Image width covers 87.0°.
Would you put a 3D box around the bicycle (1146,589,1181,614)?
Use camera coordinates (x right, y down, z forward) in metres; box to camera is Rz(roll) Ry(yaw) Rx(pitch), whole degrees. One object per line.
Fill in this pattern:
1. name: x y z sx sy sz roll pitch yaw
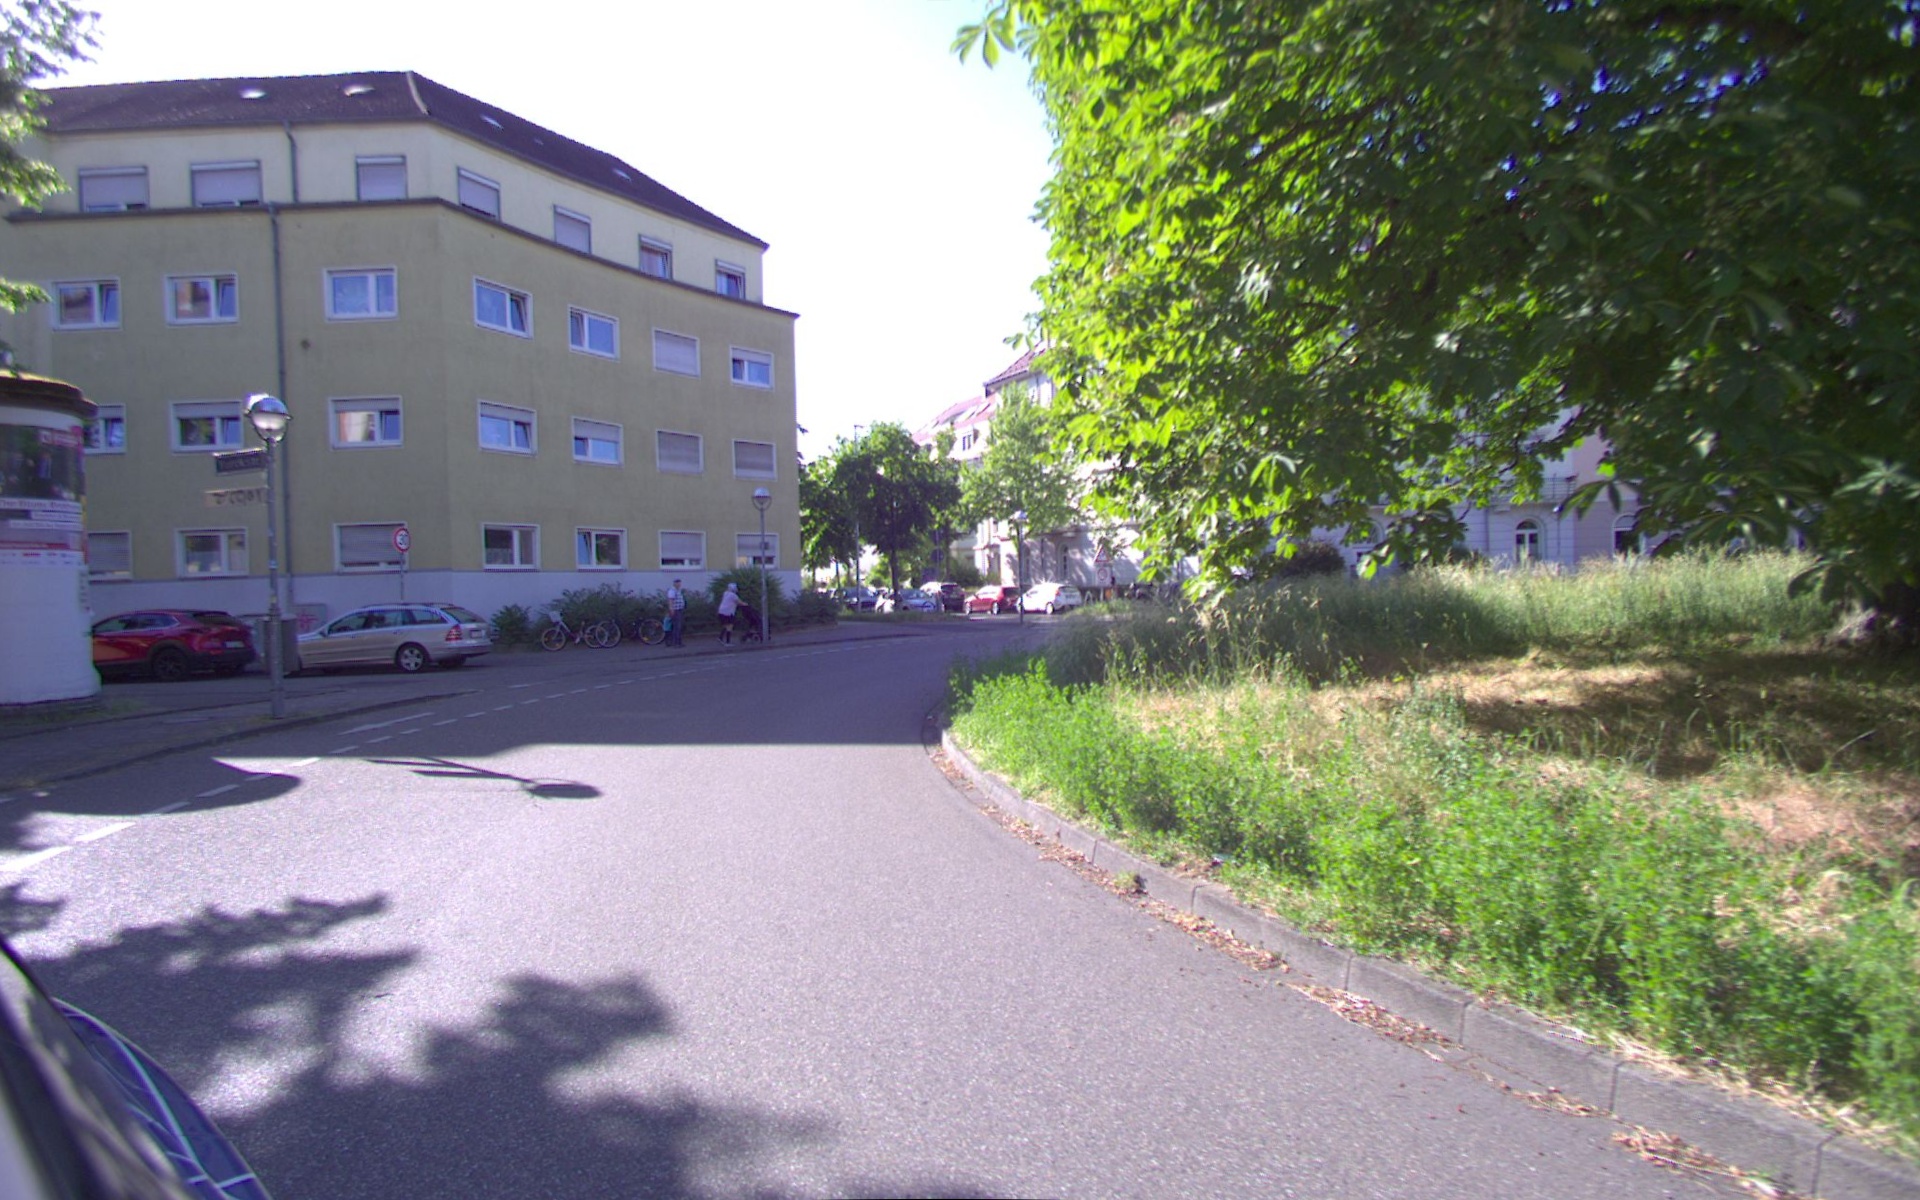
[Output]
1. bicycle: 9.815 0.084 48.930 0.561 1.132 1.805 -2 0 -32

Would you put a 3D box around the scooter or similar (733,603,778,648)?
1. scooter or similar: -5.203 0.636 25.721 0.883 1.030 0.921 -3 4 -27

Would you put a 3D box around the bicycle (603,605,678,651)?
1. bicycle: -8.259 0.716 26.185 1.769 1.116 0.502 -2 0 -24

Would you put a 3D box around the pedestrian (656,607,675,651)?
1. pedestrian: -7.420 0.719 25.459 0.400 1.047 0.377 -3 4 -19

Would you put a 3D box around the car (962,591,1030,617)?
1. car: 1.811 0.212 51.849 1.769 1.265 3.730 -2 0 -30

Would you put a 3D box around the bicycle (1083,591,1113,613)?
1. bicycle: 7.488 0.117 54.954 0.561 1.150 1.805 -2 0 -32

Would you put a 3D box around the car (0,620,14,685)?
1. car: -23.575 1.250 22.051 4.327 1.450 1.735 -2 0 1

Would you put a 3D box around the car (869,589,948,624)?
1. car: -2.368 0.298 45.300 1.773 1.422 4.011 -3 1 -32

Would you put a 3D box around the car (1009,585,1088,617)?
1. car: 4.137 0.074 47.893 1.769 1.423 4.013 -2 0 -29

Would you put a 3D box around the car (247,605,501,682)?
1. car: -12.398 0.901 21.589 4.428 1.422 1.732 -2 0 1

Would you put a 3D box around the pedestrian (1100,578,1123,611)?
1. pedestrian: 7.705 -0.271 51.466 0.761 1.674 0.748 -2 0 -32

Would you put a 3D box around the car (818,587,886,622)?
1. car: -5.431 0.253 50.540 1.770 1.587 4.011 -3 1 -32

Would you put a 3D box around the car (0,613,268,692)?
1. car: -17.553 1.082 21.643 4.327 1.450 1.735 -2 0 1

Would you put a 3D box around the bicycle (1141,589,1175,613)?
1. bicycle: 9.872 0.050 50.465 0.561 1.132 1.805 -2 0 -32

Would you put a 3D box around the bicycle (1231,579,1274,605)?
1. bicycle: 13.004 -0.348 44.975 1.788 1.116 0.496 -2 0 23

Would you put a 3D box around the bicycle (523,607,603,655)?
1. bicycle: -9.946 0.768 25.391 1.771 1.116 0.501 -2 0 -9

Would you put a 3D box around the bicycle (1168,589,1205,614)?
1. bicycle: 10.522 0.073 47.046 0.561 1.132 1.805 -2 0 -32

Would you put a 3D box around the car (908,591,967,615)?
1. car: -1.309 0.207 57.812 1.769 1.265 3.730 -2 0 -30

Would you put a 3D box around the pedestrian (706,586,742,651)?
1. pedestrian: -5.890 0.449 25.231 0.685 1.535 0.652 -3 4 -28

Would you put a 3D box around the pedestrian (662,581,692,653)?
1. pedestrian: -7.007 0.411 25.049 0.599 1.705 0.556 -3 4 -19

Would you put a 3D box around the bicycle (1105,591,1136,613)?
1. bicycle: 8.436 0.104 53.305 0.561 1.132 1.805 -2 0 -32
